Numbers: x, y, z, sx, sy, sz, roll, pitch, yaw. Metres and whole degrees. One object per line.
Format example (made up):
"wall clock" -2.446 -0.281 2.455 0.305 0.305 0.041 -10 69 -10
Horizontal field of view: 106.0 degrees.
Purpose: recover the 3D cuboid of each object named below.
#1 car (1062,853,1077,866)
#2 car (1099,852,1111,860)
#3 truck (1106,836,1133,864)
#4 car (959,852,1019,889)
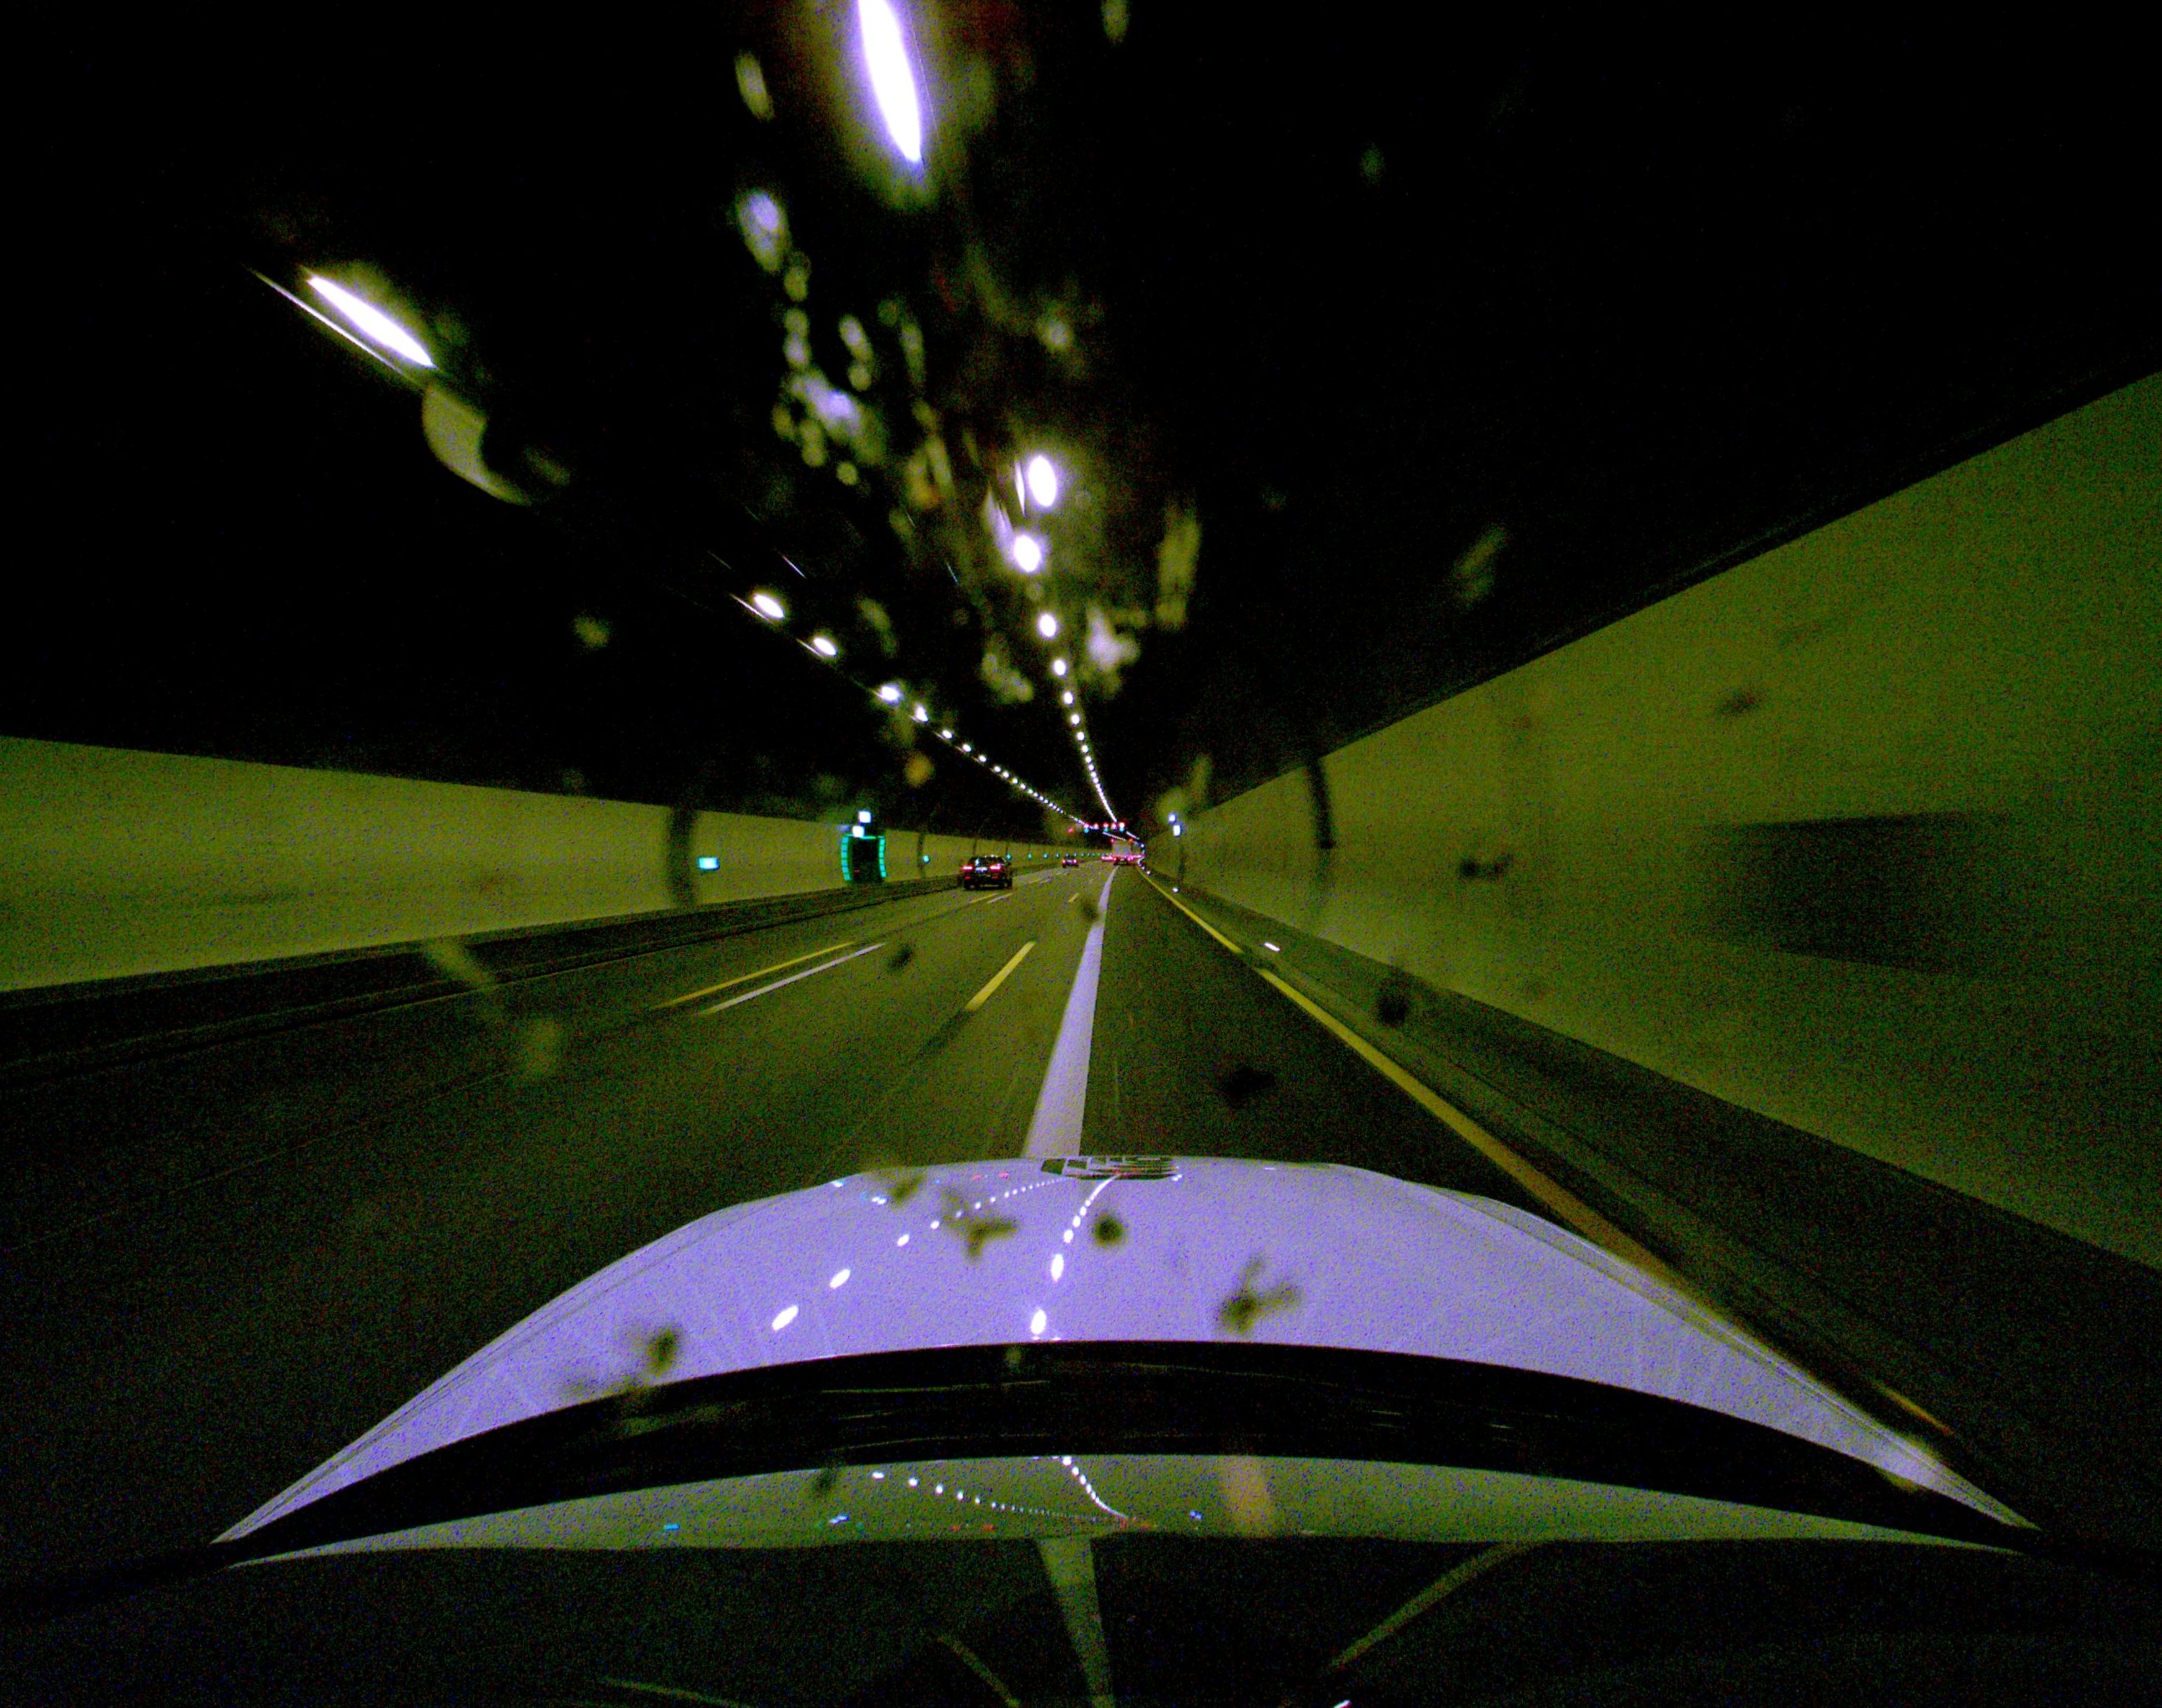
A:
"car" -1.311 0.634 94.513 1.684 1.417 3.922 1 0 0
"car" 4.583 0.382 154.234 1.984 1.413 4.749 1 0 5
"truck" 5.256 -0.510 113.380 3.579 3.650 10.726 1 0 2
"car" -4.247 0.744 38.231 1.985 1.540 4.746 1 0 3
